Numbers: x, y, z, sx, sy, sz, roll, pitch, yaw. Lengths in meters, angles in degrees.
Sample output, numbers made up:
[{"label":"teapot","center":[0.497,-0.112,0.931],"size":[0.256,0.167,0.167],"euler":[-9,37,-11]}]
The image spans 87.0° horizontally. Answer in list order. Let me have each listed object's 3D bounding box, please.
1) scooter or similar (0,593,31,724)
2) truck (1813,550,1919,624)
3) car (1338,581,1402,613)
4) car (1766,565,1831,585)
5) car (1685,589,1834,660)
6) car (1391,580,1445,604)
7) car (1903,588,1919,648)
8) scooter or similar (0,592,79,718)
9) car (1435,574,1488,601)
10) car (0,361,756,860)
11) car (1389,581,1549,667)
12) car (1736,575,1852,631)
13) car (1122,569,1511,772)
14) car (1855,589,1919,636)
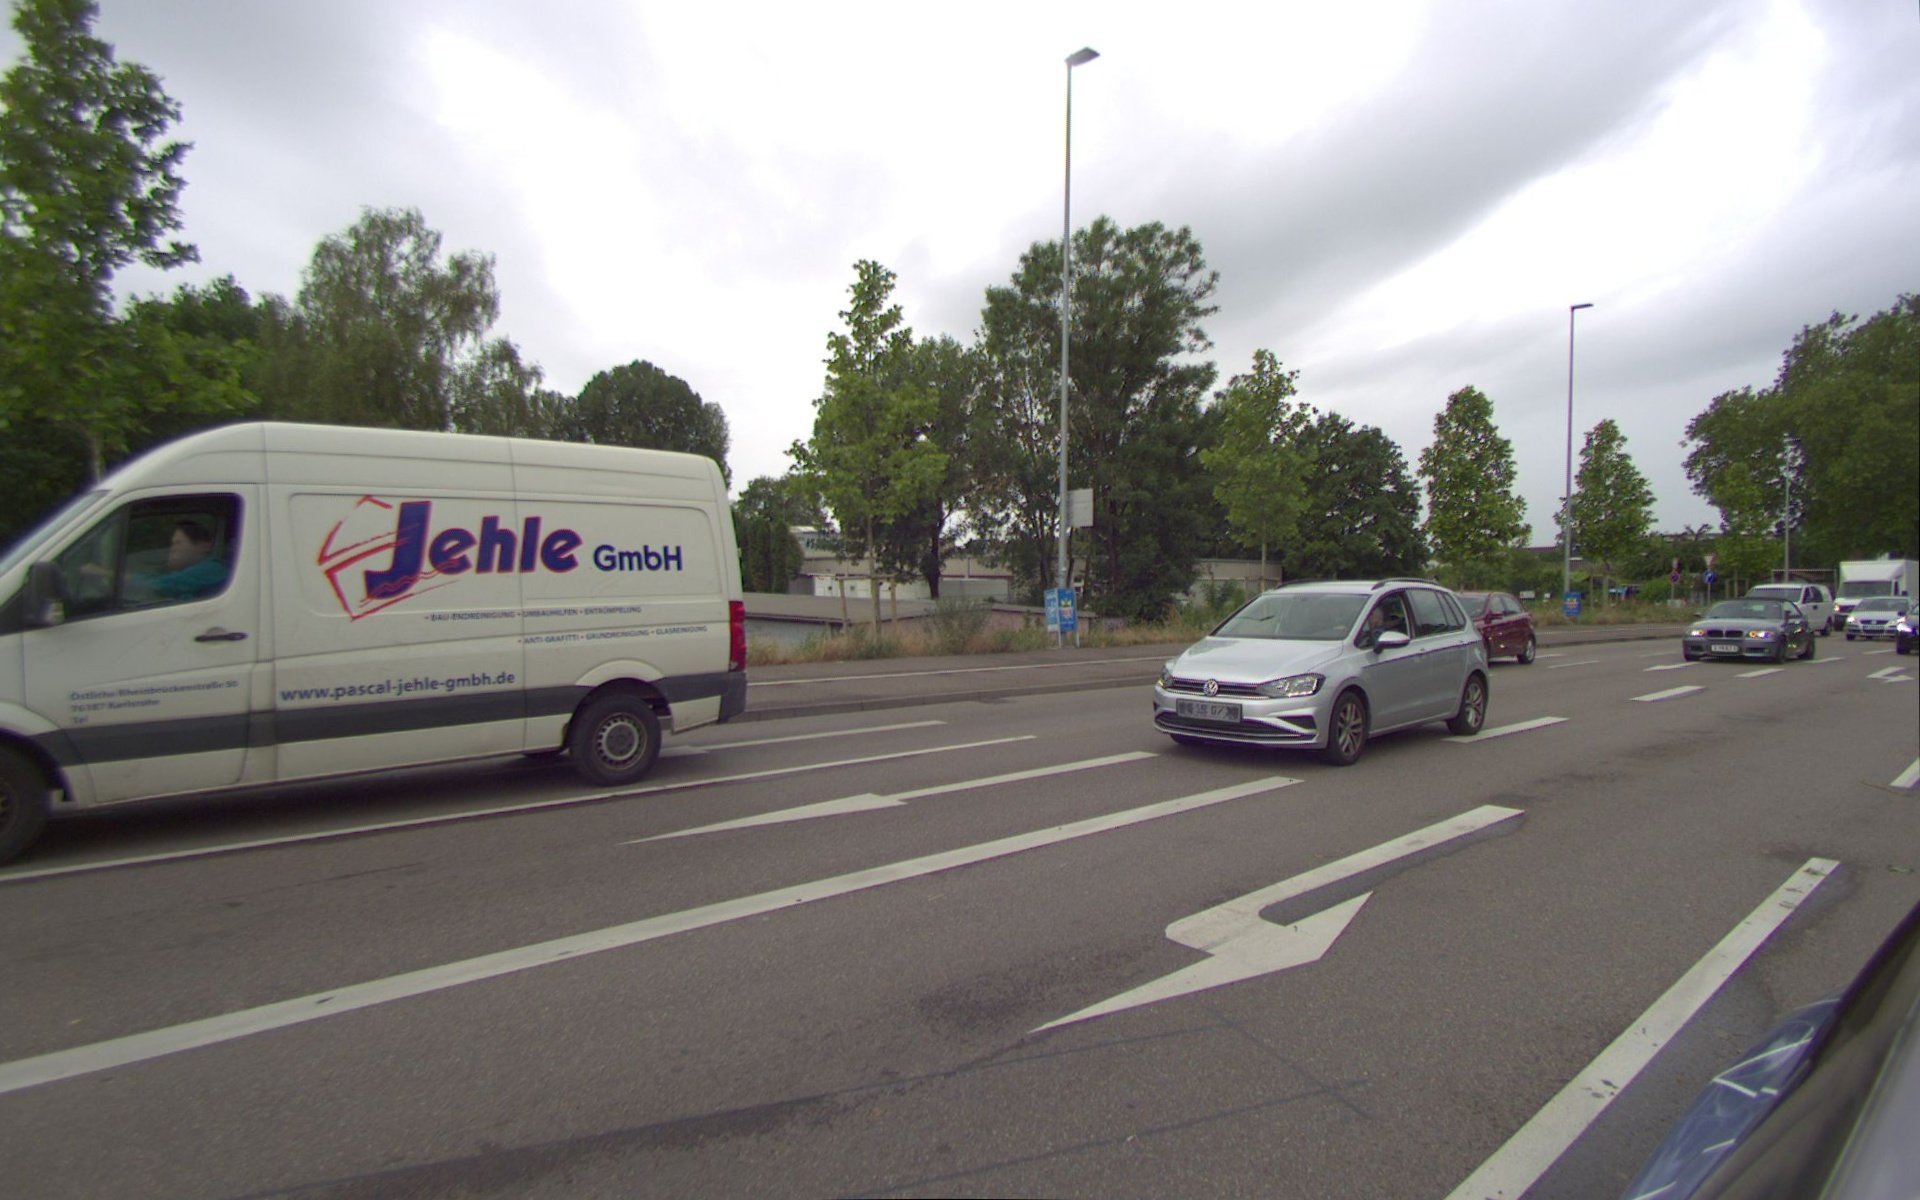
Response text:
[{"label":"scooter or similar","center":[-9.786,0.566,9.768],"size":[1.132,1.258,0.478],"euler":[0,2,-33]},{"label":"truck","center":[39.866,-0.551,43.761],"size":[6.417,2.960,2.829],"euler":[0,0,-33]},{"label":"car","center":[28.199,-0.219,69.610],"size":[4.477,2.038,2.188],"euler":[1,2,-40]},{"label":"car","center":[68.997,-2.061,83.282],"size":[1.781,1.527,3.989],"euler":[-1,1,-44]},{"label":"car","center":[17.678,0.472,22.309],"size":[4.268,1.408,1.873],"euler":[0,0,-42]},{"label":"car","center":[34.112,-0.563,75.300],"size":[4.573,1.717,2.119],"euler":[0,0,-44]},{"label":"car","center":[24.495,0.411,24.539],"size":[4.268,1.408,1.996],"euler":[0,0,-42]},{"label":"scooter or similar","center":[-9.778,0.557,10.350],"size":[1.134,1.258,0.391],"euler":[0,2,-39]},{"label":"car","center":[40.546,-0.996,81.774],"size":[4.478,2.039,2.314],"euler":[1,-1,-41]},{"label":"car","center":[-4.733,0.042,7.529],"size":[5.798,2.659,2.660],"euler":[0,0,-42]},{"label":"car","center":[10.396,0.428,20.579],"size":[3.706,1.581,1.653],"euler":[0,0,-41]},{"label":"car","center":[30.236,0.074,36.648],"size":[5.025,1.904,2.100],"euler":[0,0,-37]},{"label":"car","center":[3.623,0.522,9.907],"size":[4.129,1.571,1.857],"euler":[0,1,-42]},{"label":"car","center":[30.556,0.365,32.938],"size":[3.783,1.437,1.680],"euler":[0,0,-41]}]
